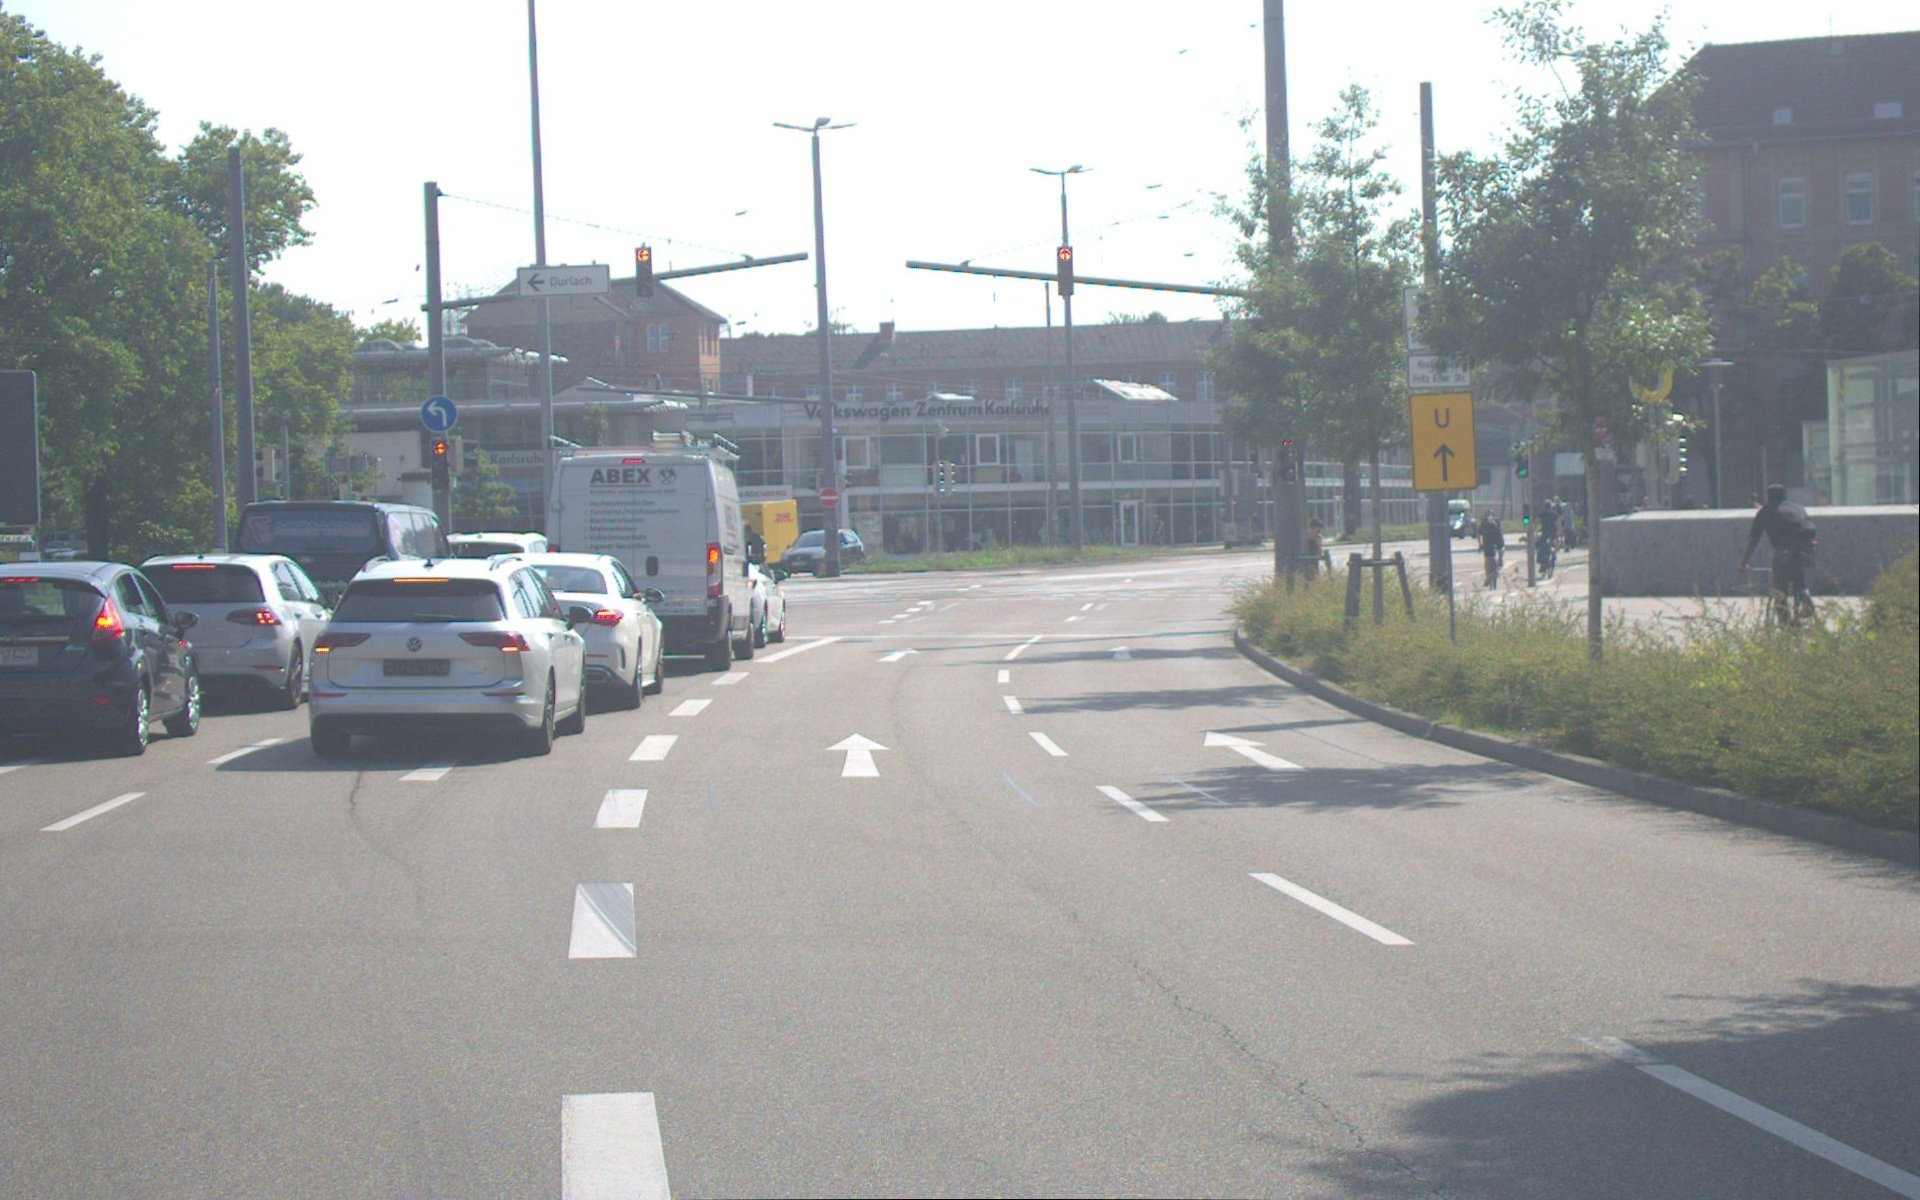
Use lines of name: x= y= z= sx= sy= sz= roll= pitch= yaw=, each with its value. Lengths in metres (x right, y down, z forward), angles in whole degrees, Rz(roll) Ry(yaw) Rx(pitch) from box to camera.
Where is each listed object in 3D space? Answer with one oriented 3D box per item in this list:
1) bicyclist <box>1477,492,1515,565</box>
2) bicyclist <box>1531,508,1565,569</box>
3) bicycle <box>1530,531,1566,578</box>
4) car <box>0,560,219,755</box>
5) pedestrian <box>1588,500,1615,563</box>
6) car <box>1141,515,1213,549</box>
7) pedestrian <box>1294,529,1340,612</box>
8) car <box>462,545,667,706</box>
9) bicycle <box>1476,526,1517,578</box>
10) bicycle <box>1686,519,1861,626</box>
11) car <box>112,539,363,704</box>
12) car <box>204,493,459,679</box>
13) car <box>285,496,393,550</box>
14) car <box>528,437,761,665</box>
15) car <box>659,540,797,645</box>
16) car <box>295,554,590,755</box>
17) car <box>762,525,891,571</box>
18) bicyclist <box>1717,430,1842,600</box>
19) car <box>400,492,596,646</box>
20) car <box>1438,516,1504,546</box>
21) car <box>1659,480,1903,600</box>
bicyclist: x=11.408 y=-1.525 z=73.136 sx=0.713 sy=1.524 sz=0.806 roll=-1 pitch=1 yaw=13
bicyclist: x=13.625 y=-1.425 z=79.664 sx=0.706 sy=1.389 sz=0.829 roll=-1 pitch=1 yaw=13
bicycle: x=13.639 y=-1.057 z=79.683 sx=0.706 sy=1.057 sz=1.981 roll=-1 pitch=1 yaw=13
car: x=-6.893 y=0.395 z=26.542 sx=1.701 sy=1.363 sz=3.964 roll=-1 pitch=1 yaw=-4
pedestrian: x=20.666 y=-2.211 z=110.745 sx=0.747 sy=2.007 sz=0.806 roll=-1 pitch=1 yaw=13
car: x=9.738 y=-3.054 z=154.009 sx=1.996 sy=1.437 sz=3.996 roll=-1 pitch=1 yaw=23
pedestrian: x=5.944 y=-0.496 z=57.280 sx=0.636 sy=1.357 sz=0.634 roll=-2 pitch=1 yaw=-4
car: x=-3.677 y=0.204 z=32.453 sx=1.489 sy=1.398 sz=3.942 roll=-1 pitch=1 yaw=0
bicycle: x=11.422 y=-1.020 z=73.147 sx=0.706 sy=1.057 sz=1.981 roll=-1 pitch=1 yaw=13
bicycle: x=7.742 y=-0.275 z=32.821 sx=0.771 sy=0.972 sz=2.151 roll=-2 pitch=1 yaw=-12
car: x=-6.805 y=0.165 z=32.706 sx=1.489 sy=1.410 sz=3.648 roll=-1 pitch=2 yaw=2
car: x=-7.217 y=-0.199 z=39.951 sx=2.023 sy=2.001 sz=4.684 roll=-1 pitch=1 yaw=0
car: x=-24.668 y=-3.079 z=136.651 sx=3.986 sy=2.006 sz=2.001 roll=-1 pitch=4 yaw=-3
car: x=-3.702 y=-0.578 z=41.234 sx=2.189 sy=2.540 sz=4.683 roll=-1 pitch=1 yaw=2
car: x=-3.273 y=-0.139 z=49.102 sx=1.637 sy=1.398 sz=3.687 roll=-1 pitch=1 yaw=1
car: x=-3.830 y=0.364 z=25.967 sx=1.685 sy=1.383 sz=3.634 roll=-1 pitch=1 yaw=0
car: x=-4.269 y=-1.657 z=109.858 sx=3.965 sy=1.337 sz=1.931 roll=-2 pitch=1 yaw=-6
bicyclist: x=7.769 y=-0.804 z=32.608 sx=0.771 sy=1.573 sz=0.991 roll=-2 pitch=1 yaw=-12
car: x=-6.366 y=-0.450 z=47.864 sx=2.023 sy=2.001 sz=4.684 roll=-1 pitch=1 yaw=0
car: x=26.125 y=-3.537 z=175.775 sx=1.997 sy=1.437 sz=3.994 roll=-1 pitch=2 yaw=29
car: x=14.868 y=-1.112 z=62.261 sx=3.986 sy=2.006 sz=1.754 roll=-2 pitch=4 yaw=-20
